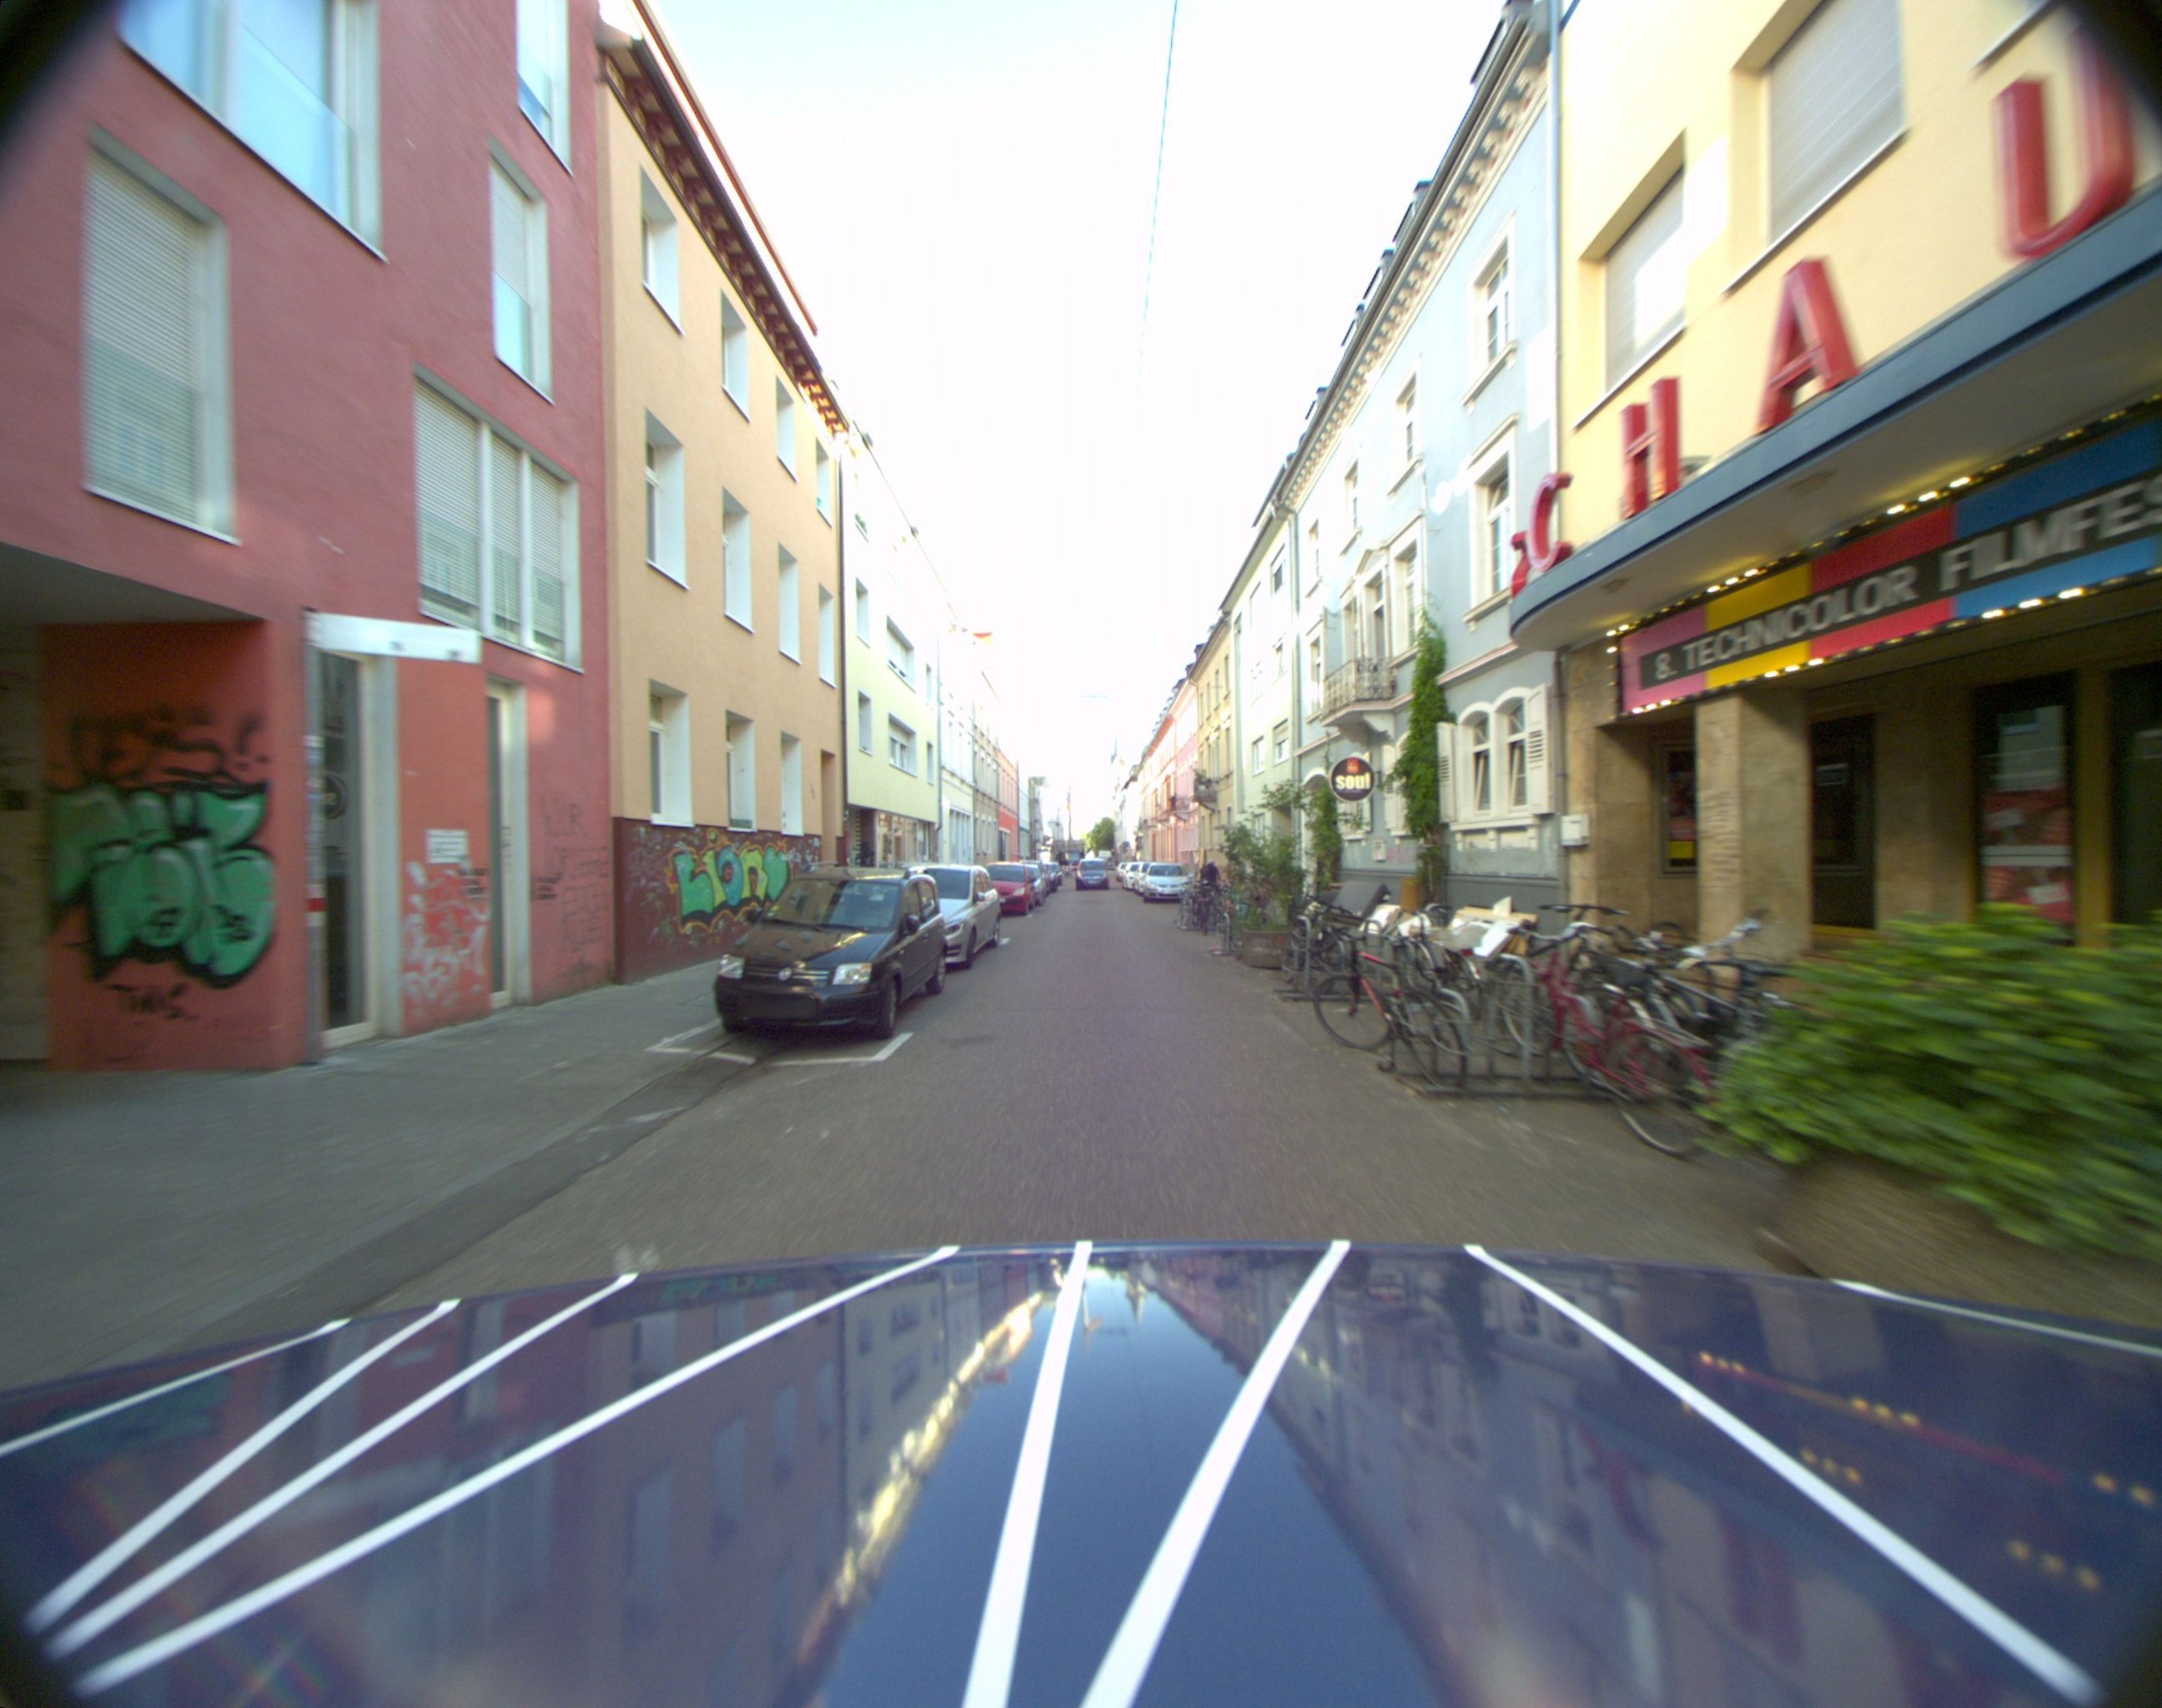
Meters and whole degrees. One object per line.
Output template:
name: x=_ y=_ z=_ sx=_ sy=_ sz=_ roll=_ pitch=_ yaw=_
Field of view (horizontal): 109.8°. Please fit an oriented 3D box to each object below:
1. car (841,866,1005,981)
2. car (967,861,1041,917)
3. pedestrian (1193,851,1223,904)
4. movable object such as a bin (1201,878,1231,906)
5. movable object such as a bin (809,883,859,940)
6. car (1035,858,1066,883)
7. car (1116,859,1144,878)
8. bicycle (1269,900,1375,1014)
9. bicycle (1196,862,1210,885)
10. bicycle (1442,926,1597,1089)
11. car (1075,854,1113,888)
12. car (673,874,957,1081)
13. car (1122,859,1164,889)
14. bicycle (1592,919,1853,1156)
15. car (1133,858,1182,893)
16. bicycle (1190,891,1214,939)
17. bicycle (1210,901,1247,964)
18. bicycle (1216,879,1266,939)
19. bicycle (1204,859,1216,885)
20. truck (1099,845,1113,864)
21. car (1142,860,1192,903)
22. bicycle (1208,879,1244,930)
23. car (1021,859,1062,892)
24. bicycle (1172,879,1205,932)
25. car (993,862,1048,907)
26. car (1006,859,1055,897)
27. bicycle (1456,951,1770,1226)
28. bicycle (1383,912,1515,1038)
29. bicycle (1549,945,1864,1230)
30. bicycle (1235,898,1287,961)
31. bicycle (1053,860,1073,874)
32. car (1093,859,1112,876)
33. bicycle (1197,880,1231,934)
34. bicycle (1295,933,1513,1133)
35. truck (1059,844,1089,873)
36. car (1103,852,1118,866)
car: x=-2.418 y=1.006 z=12.710 sx=1.750 sy=1.547 sz=4.172 roll=0 pitch=0 yaw=2
car: x=-2.253 y=0.992 z=23.167 sx=1.701 sy=1.514 sz=3.980 roll=1 pitch=0 yaw=2
pedestrian: x=4.196 y=0.764 z=25.057 sx=0.713 sy=1.698 sz=0.673 roll=-1 pitch=1 yaw=31
movable object such as a bin: x=4.537 y=1.272 z=25.557 sx=0.845 sy=0.892 sz=0.587 roll=-1 pitch=1 yaw=29
movable object such as a bin: x=-4.835 y=1.115 z=14.928 sx=0.694 sy=1.052 sz=0.736 roll=2 pitch=0 yaw=1
car: x=-1.931 y=1.028 z=49.022 sx=1.831 sy=1.474 sz=4.464 roll=0 pitch=0 yaw=0
car: x=3.617 y=1.032 z=56.394 sx=1.771 sy=1.335 sz=4.380 roll=1 pitch=0 yaw=0
bicycle: x=2.821 y=1.163 z=9.097 sx=0.547 sy=1.087 sz=1.881 roll=-2 pitch=0 yaw=-3
bicycle: x=6.060 y=0.976 z=37.827 sx=0.418 sy=1.095 sz=1.494 roll=-2 pitch=0 yaw=0
bicycle: x=3.490 y=1.173 z=6.159 sx=0.418 sy=1.041 sz=1.318 roll=-2 pitch=0 yaw=-3
car: x=0.674 y=0.836 z=39.598 sx=1.832 sy=1.650 sz=4.213 roll=0 pitch=0 yaw=1
car: x=-2.445 y=1.045 z=7.881 sx=1.606 sy=1.530 sz=3.450 roll=2 pitch=0 yaw=2
car: x=3.144 y=0.987 z=39.088 sx=1.792 sy=1.454 sz=4.200 roll=0 pitch=0 yaw=0
bicycle: x=4.041 y=1.074 z=4.933 sx=0.340 sy=1.167 sz=1.490 roll=-2 pitch=0 yaw=-3
car: x=3.385 y=0.936 z=34.074 sx=1.794 sy=1.443 sz=4.000 roll=0 pitch=0 yaw=0
bicycle: x=2.532 y=1.269 z=15.978 sx=0.322 sy=0.911 sz=1.290 roll=0 pitch=0 yaw=1
bicycle: x=2.453 y=1.295 z=12.733 sx=0.391 sy=0.911 sz=1.393 roll=0 pitch=0 yaw=1
bicycle: x=3.310 y=1.126 z=15.754 sx=0.815 sy=1.168 sz=0.920 roll=-1 pitch=0 yaw=-2
bicycle: x=6.448 y=0.891 z=37.879 sx=0.319 sy=1.253 sz=1.494 roll=-2 pitch=0 yaw=0
truck: x=4.662 y=0.113 z=140.107 sx=2.524 sy=3.271 sz=6.643 roll=0 pitch=0 yaw=1
car: x=3.182 y=0.977 z=28.579 sx=1.684 sy=1.446 sz=4.035 roll=1 pitch=0 yaw=4
bicycle: x=3.419 y=1.167 z=18.038 sx=0.444 sy=1.099 sz=1.874 roll=-1 pitch=0 yaw=-1
car: x=-1.957 y=1.028 z=38.786 sx=1.766 sy=1.513 sz=4.380 roll=-1 pitch=0 yaw=0
bicycle: x=2.472 y=1.166 z=17.575 sx=0.500 sy=1.099 sz=1.830 roll=-1 pitch=0 yaw=0
car: x=-2.117 y=1.060 z=27.744 sx=1.692 sy=1.444 sz=4.193 roll=1 pitch=0 yaw=-1
car: x=-2.157 y=0.991 z=33.263 sx=1.794 sy=1.542 sz=4.000 roll=0 pitch=0 yaw=1
bicycle: x=2.963 y=1.218 z=4.499 sx=0.443 sy=1.041 sz=1.864 roll=-2 pitch=0 yaw=-3
bicycle: x=3.690 y=1.175 z=7.741 sx=0.575 sy=1.039 sz=1.409 roll=-1 pitch=0 yaw=-3
bicycle: x=3.553 y=1.233 z=4.521 sx=0.400 sy=1.167 sz=1.669 roll=-2 pitch=0 yaw=-3
bicycle: x=3.066 y=1.267 z=13.076 sx=0.555 sy=0.938 sz=1.572 roll=0 pitch=0 yaw=1
bicycle: x=-1.597 y=1.155 z=67.657 sx=1.713 sy=1.130 sz=0.470 roll=-2 pitch=0 yaw=-11
car: x=1.934 y=1.239 z=69.752 sx=1.644 sy=1.528 sz=3.842 roll=0 pitch=0 yaw=0
bicycle: x=3.062 y=1.197 z=17.603 sx=0.444 sy=1.099 sz=1.932 roll=-1 pitch=0 yaw=0
bicycle: x=2.257 y=1.197 z=5.573 sx=0.462 sy=1.041 sz=1.748 roll=-2 pitch=0 yaw=-15
truck: x=-0.708 y=0.425 z=77.956 sx=2.819 sy=2.735 sz=7.678 roll=-2 pitch=0 yaw=0
car: x=4.308 y=0.715 z=111.465 sx=1.998 sy=2.002 sz=4.258 roll=0 pitch=0 yaw=1
